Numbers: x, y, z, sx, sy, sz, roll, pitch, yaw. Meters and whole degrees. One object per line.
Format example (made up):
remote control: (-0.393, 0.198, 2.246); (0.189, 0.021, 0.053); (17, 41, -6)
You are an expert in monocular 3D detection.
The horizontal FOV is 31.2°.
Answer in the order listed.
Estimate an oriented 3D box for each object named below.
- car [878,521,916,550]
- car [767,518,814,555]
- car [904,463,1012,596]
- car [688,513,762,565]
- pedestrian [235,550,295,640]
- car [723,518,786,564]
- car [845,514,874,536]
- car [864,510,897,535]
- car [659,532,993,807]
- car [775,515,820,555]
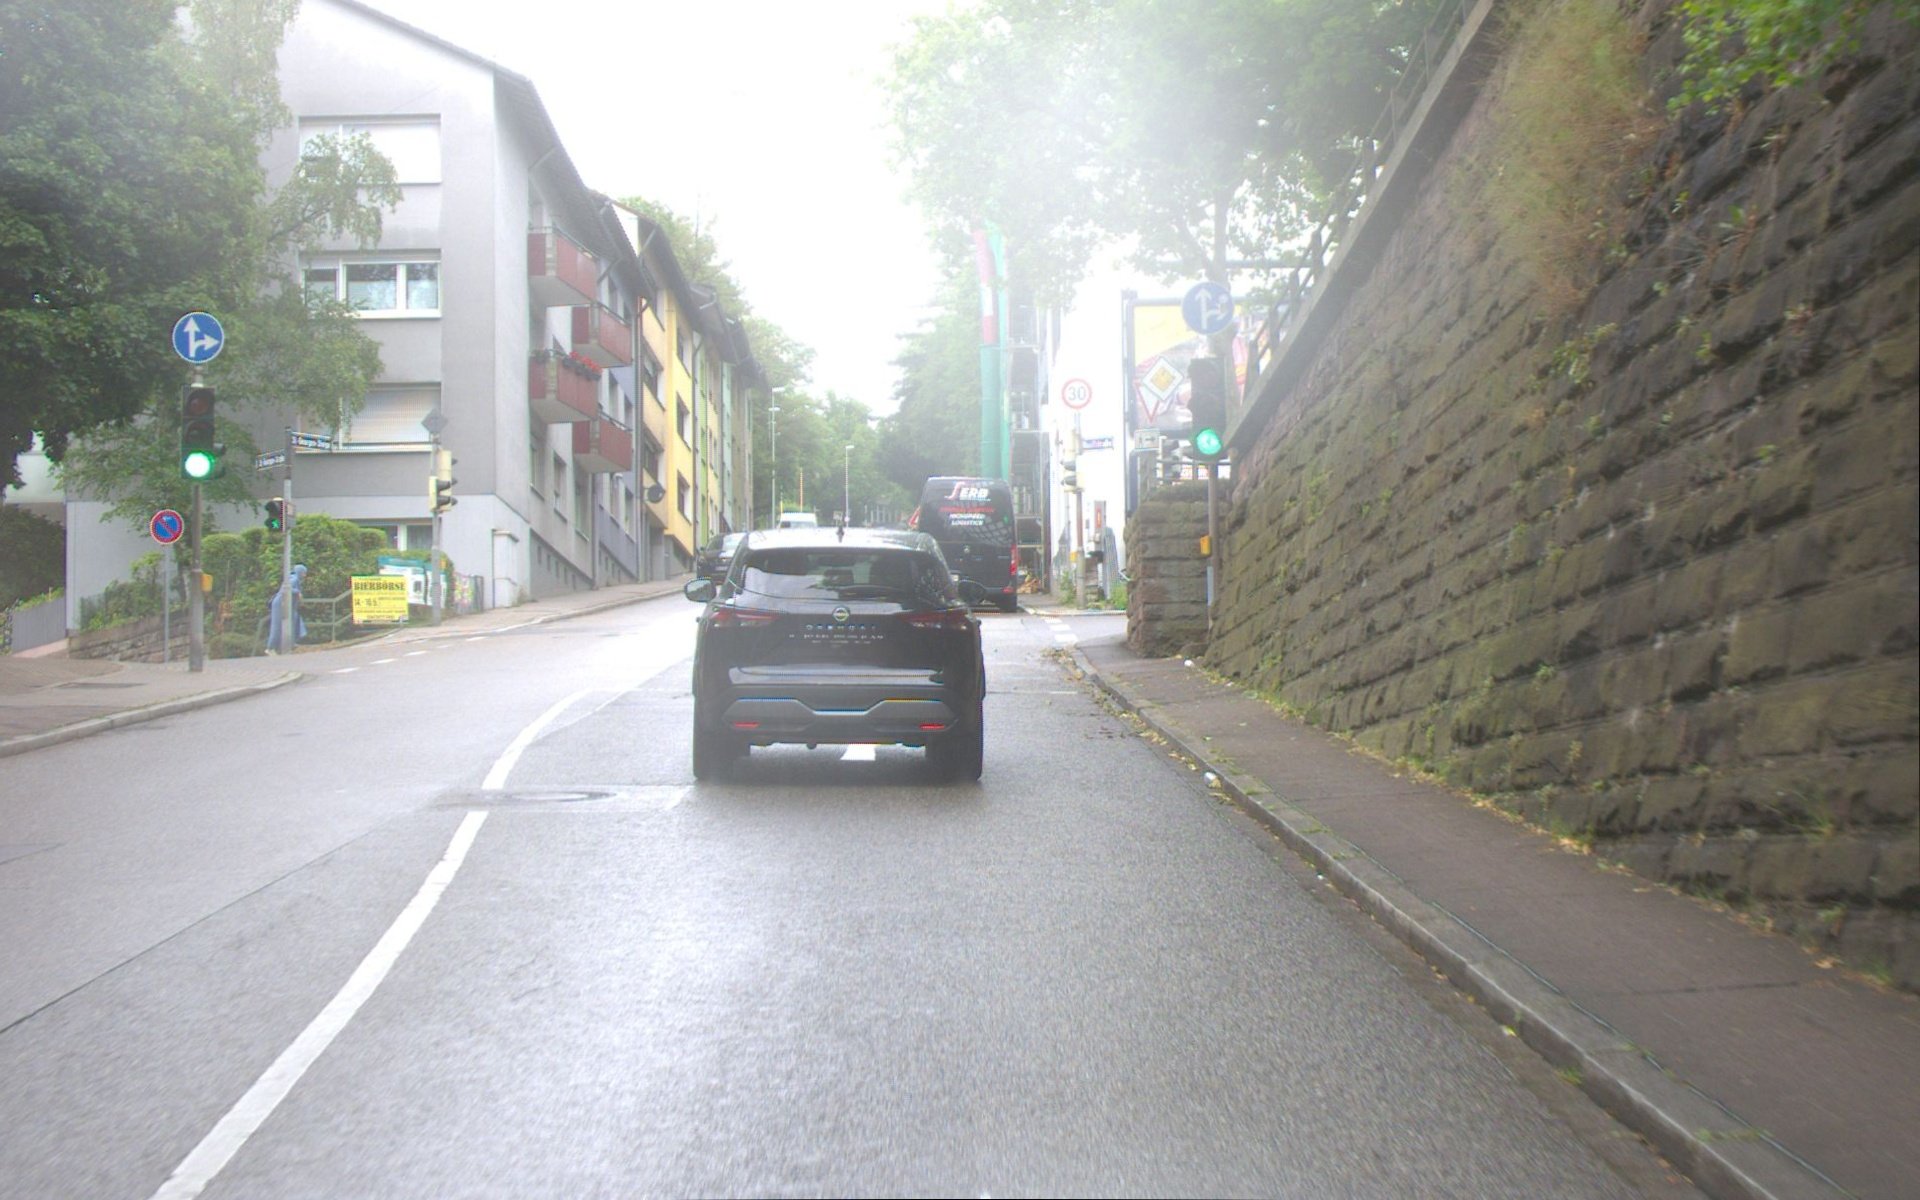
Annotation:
car: (-3.518, -3.610, 190.897); (2.074, 1.554, 4.001); (0, 2, -2)
car: (-7.600, -2.871, 154.338); (1.990, 1.579, 4.306); (-1, 2, -2)
car: (0.000, -1.317, 67.128); (1.993, 2.405, 5.836); (1, 0, 1)
car: (-7.801, -2.044, 114.469); (1.993, 1.644, 4.442); (-1, 2, 2)
pedestrian: (-12.084, -0.082, 59.775); (0.869, 1.536, 1.087); (1, -1, -4)
car: (-7.802, -2.249, 130.868); (1.993, 1.644, 4.442); (-1, 2, 2)
car: (-7.234, -5.415, 247.306); (2.074, 1.554, 4.001); (0, 2, -2)
car: (-5.061, -4.966, 219.503); (2.074, 1.554, 4.001); (0, 2, -2)
car: (-0.832, 0.378, 22.669); (1.993, 1.554, 4.001); (1, 2, -1)
car: (-7.588, -3.063, 160.634); (1.990, 1.749, 4.481); (-1, 2, -2)
